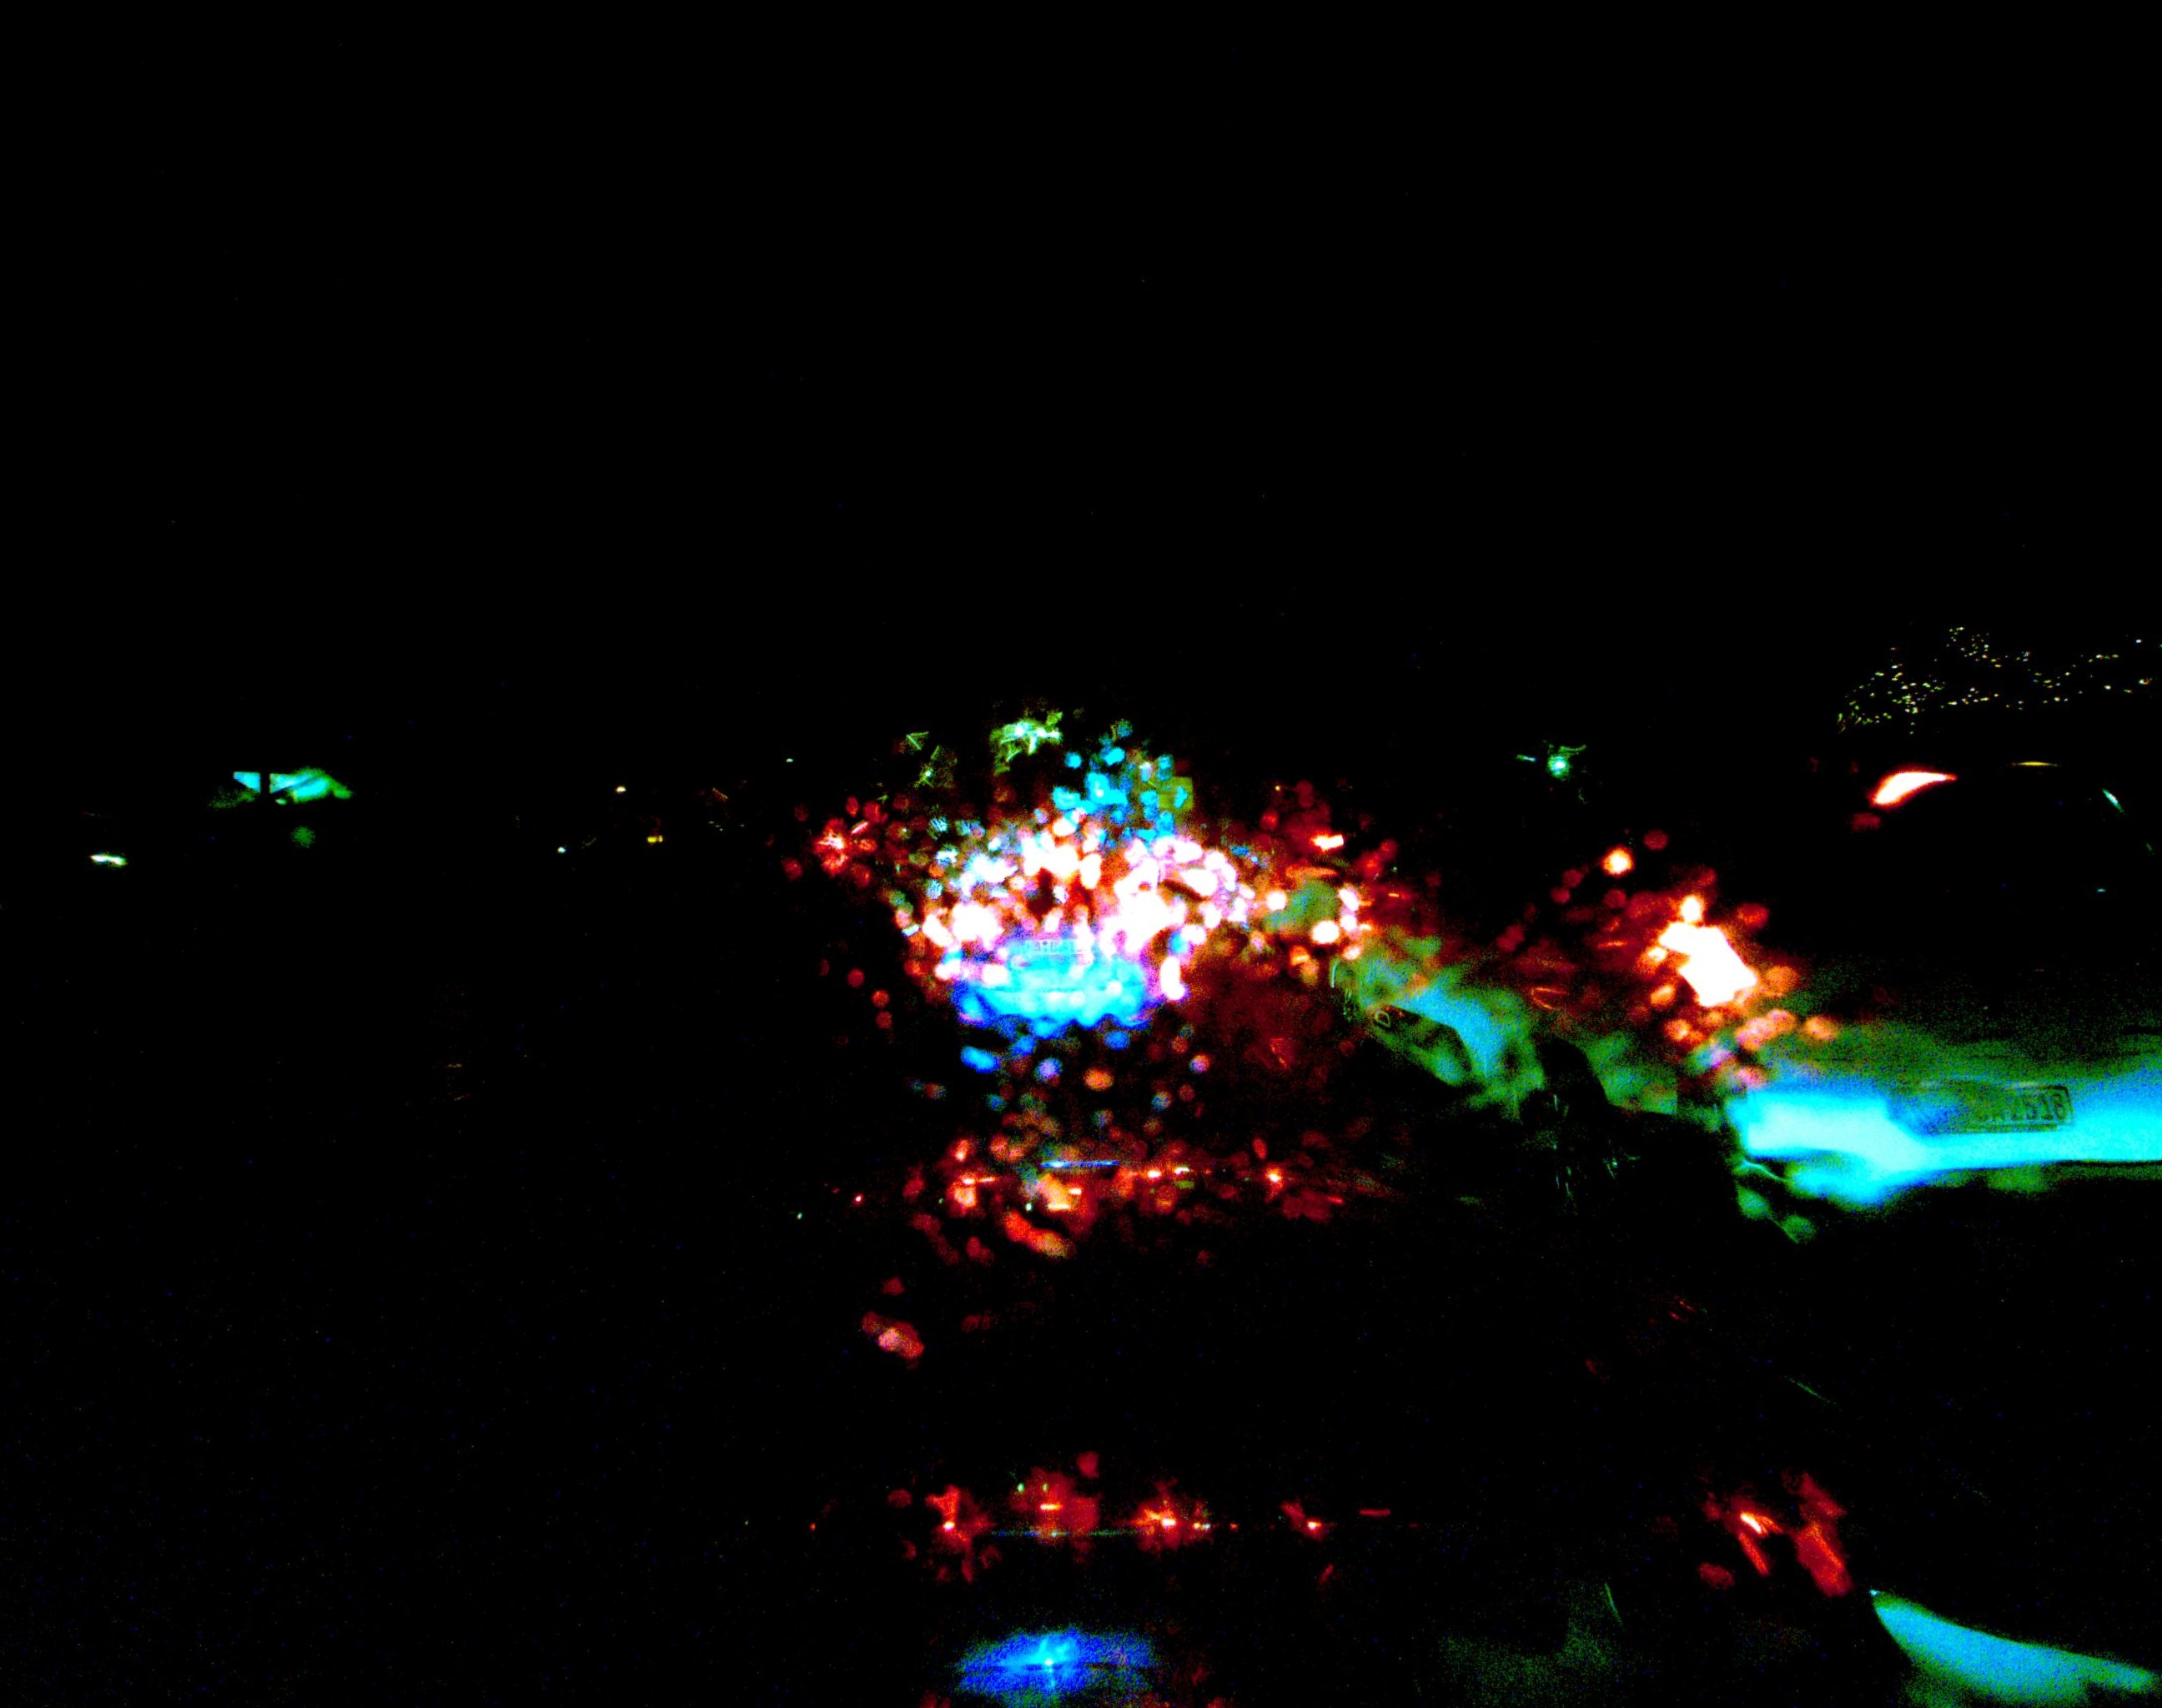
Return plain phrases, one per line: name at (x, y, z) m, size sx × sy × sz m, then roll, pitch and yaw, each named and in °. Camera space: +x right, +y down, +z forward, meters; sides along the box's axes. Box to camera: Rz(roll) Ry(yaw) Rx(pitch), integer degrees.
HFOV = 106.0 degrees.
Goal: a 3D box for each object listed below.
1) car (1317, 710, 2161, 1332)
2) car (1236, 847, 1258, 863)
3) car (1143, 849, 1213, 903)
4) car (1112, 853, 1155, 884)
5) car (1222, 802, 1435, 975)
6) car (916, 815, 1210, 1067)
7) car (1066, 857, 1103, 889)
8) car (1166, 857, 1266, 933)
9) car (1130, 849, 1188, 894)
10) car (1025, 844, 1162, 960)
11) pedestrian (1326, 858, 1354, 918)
car at (2.836, 0.518, 4.625) m, size 1.845 × 1.865 × 4.342 m, roll 0°, pitch -1°, yaw 2°
car at (19.126, 0.121, 93.929) m, size 1.857 × 1.646 × 3.965 m, roll -3°, pitch -1°, yaw 2°
car at (3.131, 0.691, 27.045) m, size 1.986 × 1.670 × 4.001 m, roll 0°, pitch -1°, yaw 2°
car at (2.672, 0.724, 42.340) m, size 1.853 × 1.544 × 3.927 m, roll 0°, pitch -1°, yaw -2°
car at (3.291, 0.431, 11.705) m, size 1.961 × 2.047 × 4.001 m, roll 0°, pitch -1°, yaw 2°
car at (-0.087, 0.614, 7.814) m, size 2.007 × 1.717 × 4.452 m, roll 0°, pitch -1°, yaw 1°
car at (0.172, 1.107, 48.232) m, size 1.989 × 1.824 × 3.995 m, roll 0°, pitch -1°, yaw -3°
car at (3.289, 0.957, 20.583) m, size 1.986 × 1.718 × 4.001 m, roll 0°, pitch -1°, yaw 2°
car at (3.210, 0.693, 34.076) m, size 1.988 × 1.773 × 3.998 m, roll 0°, pitch -1°, yaw -1°
car at (0.243, 0.714, 13.891) m, size 1.986 × 1.684 × 4.001 m, roll 0°, pitch -1°, yaw 2°
pedestrian at (7.460, 0.964, 23.496) m, size 0.621 × 1.701 × 0.541 m, roll 0°, pitch -1°, yaw -1°
